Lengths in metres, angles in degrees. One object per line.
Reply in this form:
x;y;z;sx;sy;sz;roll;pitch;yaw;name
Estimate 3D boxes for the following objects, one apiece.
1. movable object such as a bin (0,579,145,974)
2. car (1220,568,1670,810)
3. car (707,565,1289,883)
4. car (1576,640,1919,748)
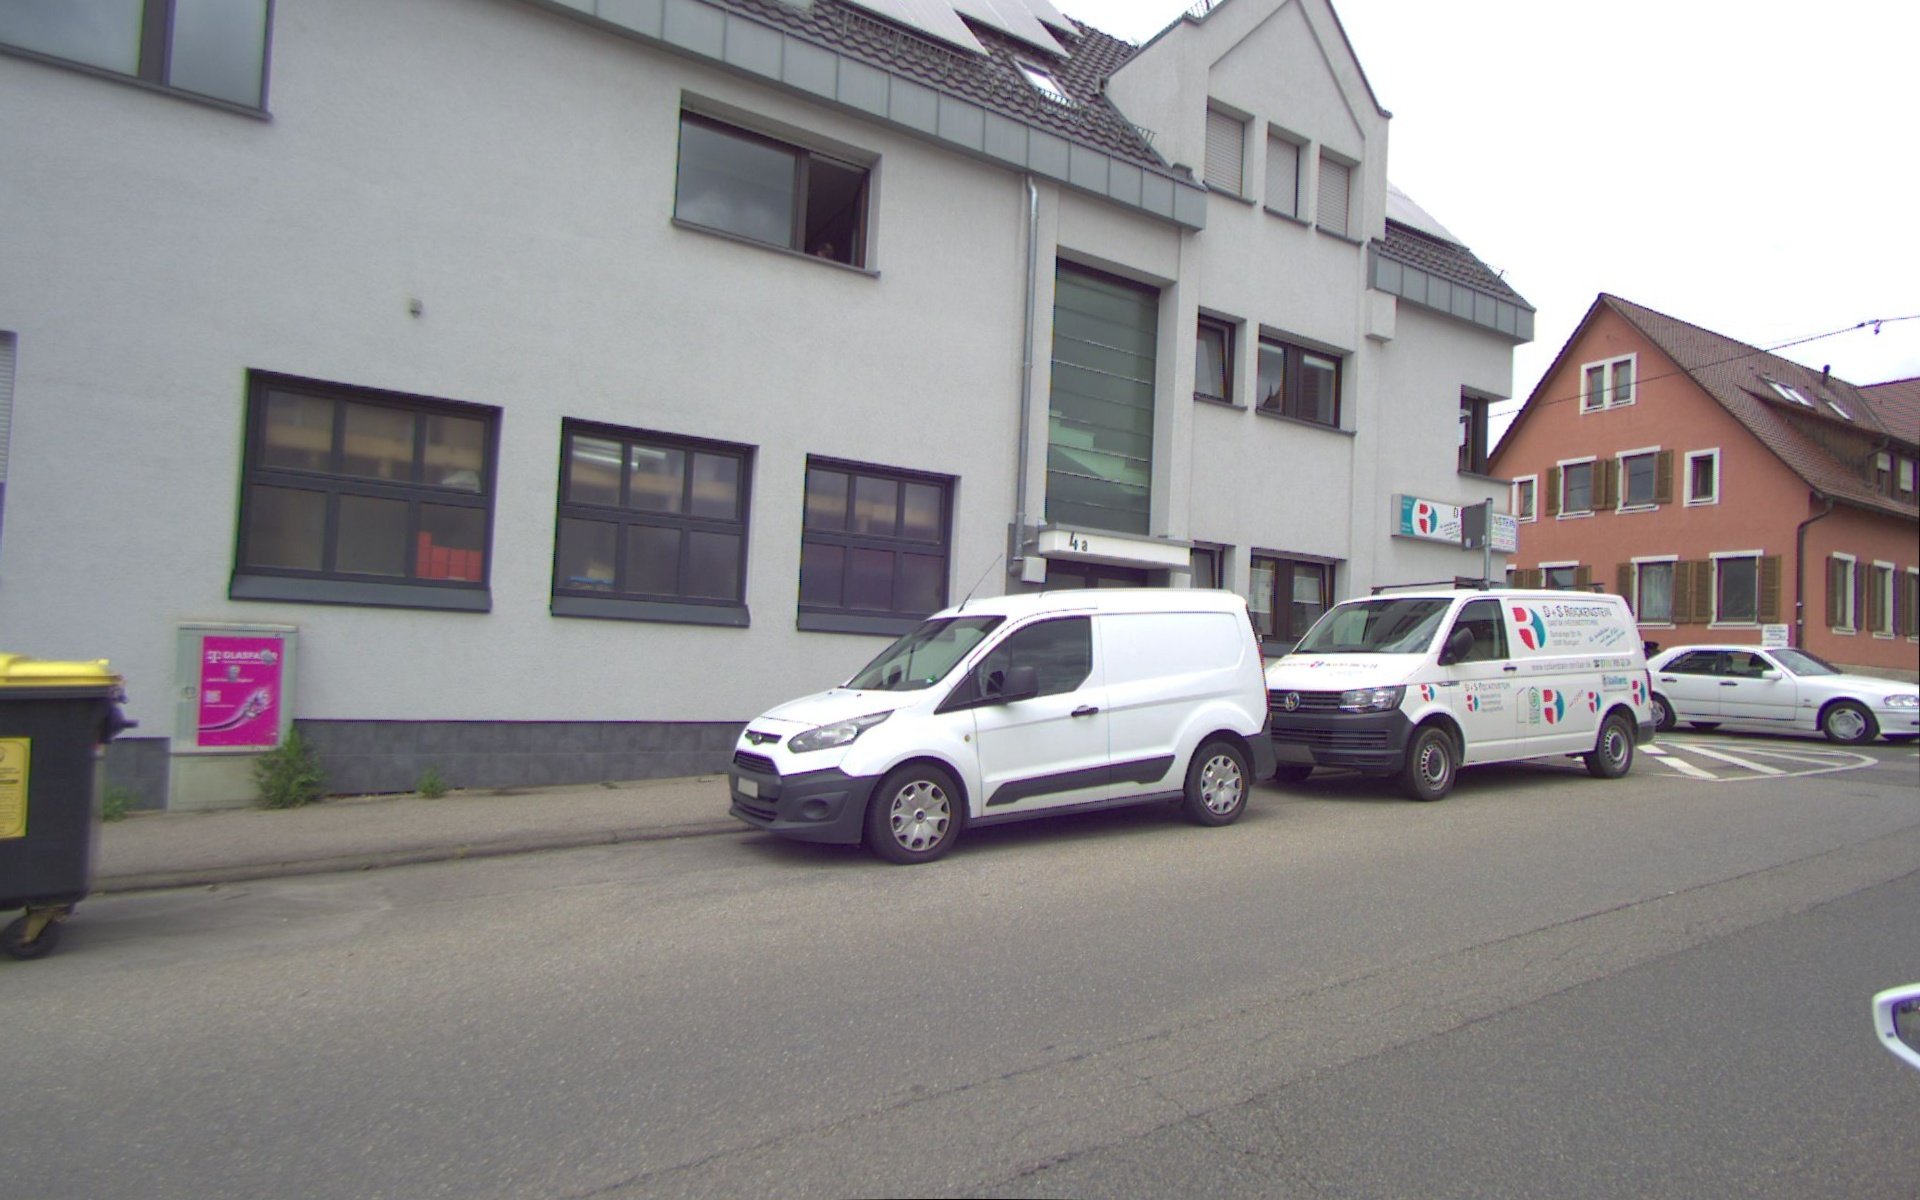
-4.665;0.749;4.456;1.548;1.654;1.132;2;-2;-37;movable object such as a bin
5.094;0.836;10.416;4.705;2.032;1.805;1;-3;-29;car
0.395;0.806;7.735;4.249;1.855;1.725;1;-3;-31;car
12.731;1.394;16.092;1.974;1.464;4.538;1;-3;-27;car
